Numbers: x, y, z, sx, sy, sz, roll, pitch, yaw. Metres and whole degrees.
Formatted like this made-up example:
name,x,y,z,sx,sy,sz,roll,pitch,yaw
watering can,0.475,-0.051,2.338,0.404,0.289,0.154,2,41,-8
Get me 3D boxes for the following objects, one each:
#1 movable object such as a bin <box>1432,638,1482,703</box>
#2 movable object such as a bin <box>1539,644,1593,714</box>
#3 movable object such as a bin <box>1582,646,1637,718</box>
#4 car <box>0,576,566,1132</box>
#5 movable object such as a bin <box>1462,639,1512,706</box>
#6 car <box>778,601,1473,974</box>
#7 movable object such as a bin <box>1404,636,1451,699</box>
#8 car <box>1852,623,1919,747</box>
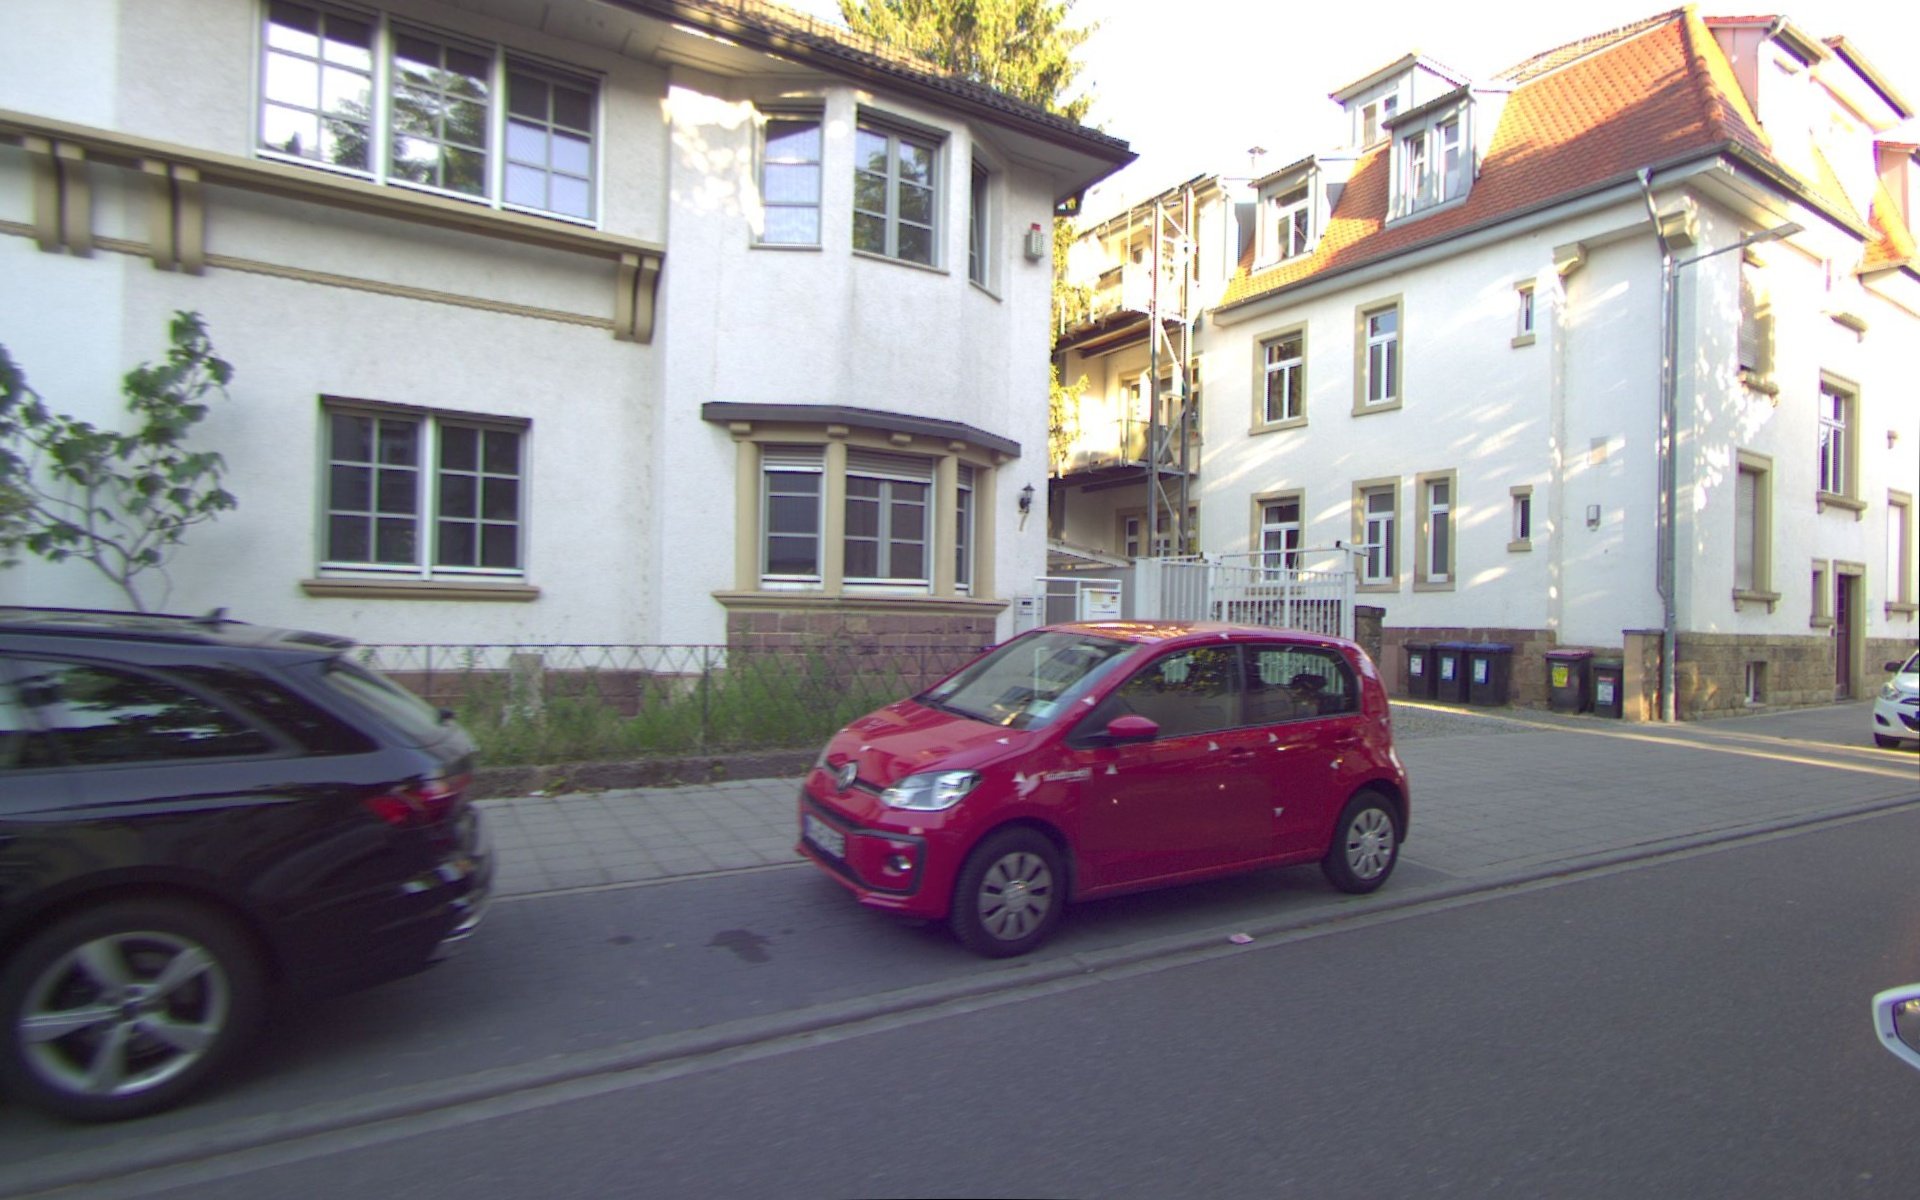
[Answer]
name,x,y,z,sx,sy,sz,roll,pitch,yaw
movable object such as a bin,8.952,1.263,18.095,0.583,1.122,0.525,3,-1,-30
movable object such as a bin,10.186,1.330,16.894,0.583,1.122,0.525,3,-1,-30
movable object such as a bin,10.647,1.341,16.464,0.583,1.122,0.525,3,-1,-30
car,-3.820,0.657,3.073,4.644,1.517,1.775,2,0,-30
movable object such as a bin,9.234,1.270,17.605,0.583,1.122,0.525,3,-1,-30
car,1.020,0.834,5.765,3.709,1.508,1.651,2,0,-30
movable object such as a bin,8.665,1.256,18.615,0.583,1.122,0.525,3,-1,-30
car,13.577,1.132,13.312,3.712,1.519,1.650,2,0,-32
